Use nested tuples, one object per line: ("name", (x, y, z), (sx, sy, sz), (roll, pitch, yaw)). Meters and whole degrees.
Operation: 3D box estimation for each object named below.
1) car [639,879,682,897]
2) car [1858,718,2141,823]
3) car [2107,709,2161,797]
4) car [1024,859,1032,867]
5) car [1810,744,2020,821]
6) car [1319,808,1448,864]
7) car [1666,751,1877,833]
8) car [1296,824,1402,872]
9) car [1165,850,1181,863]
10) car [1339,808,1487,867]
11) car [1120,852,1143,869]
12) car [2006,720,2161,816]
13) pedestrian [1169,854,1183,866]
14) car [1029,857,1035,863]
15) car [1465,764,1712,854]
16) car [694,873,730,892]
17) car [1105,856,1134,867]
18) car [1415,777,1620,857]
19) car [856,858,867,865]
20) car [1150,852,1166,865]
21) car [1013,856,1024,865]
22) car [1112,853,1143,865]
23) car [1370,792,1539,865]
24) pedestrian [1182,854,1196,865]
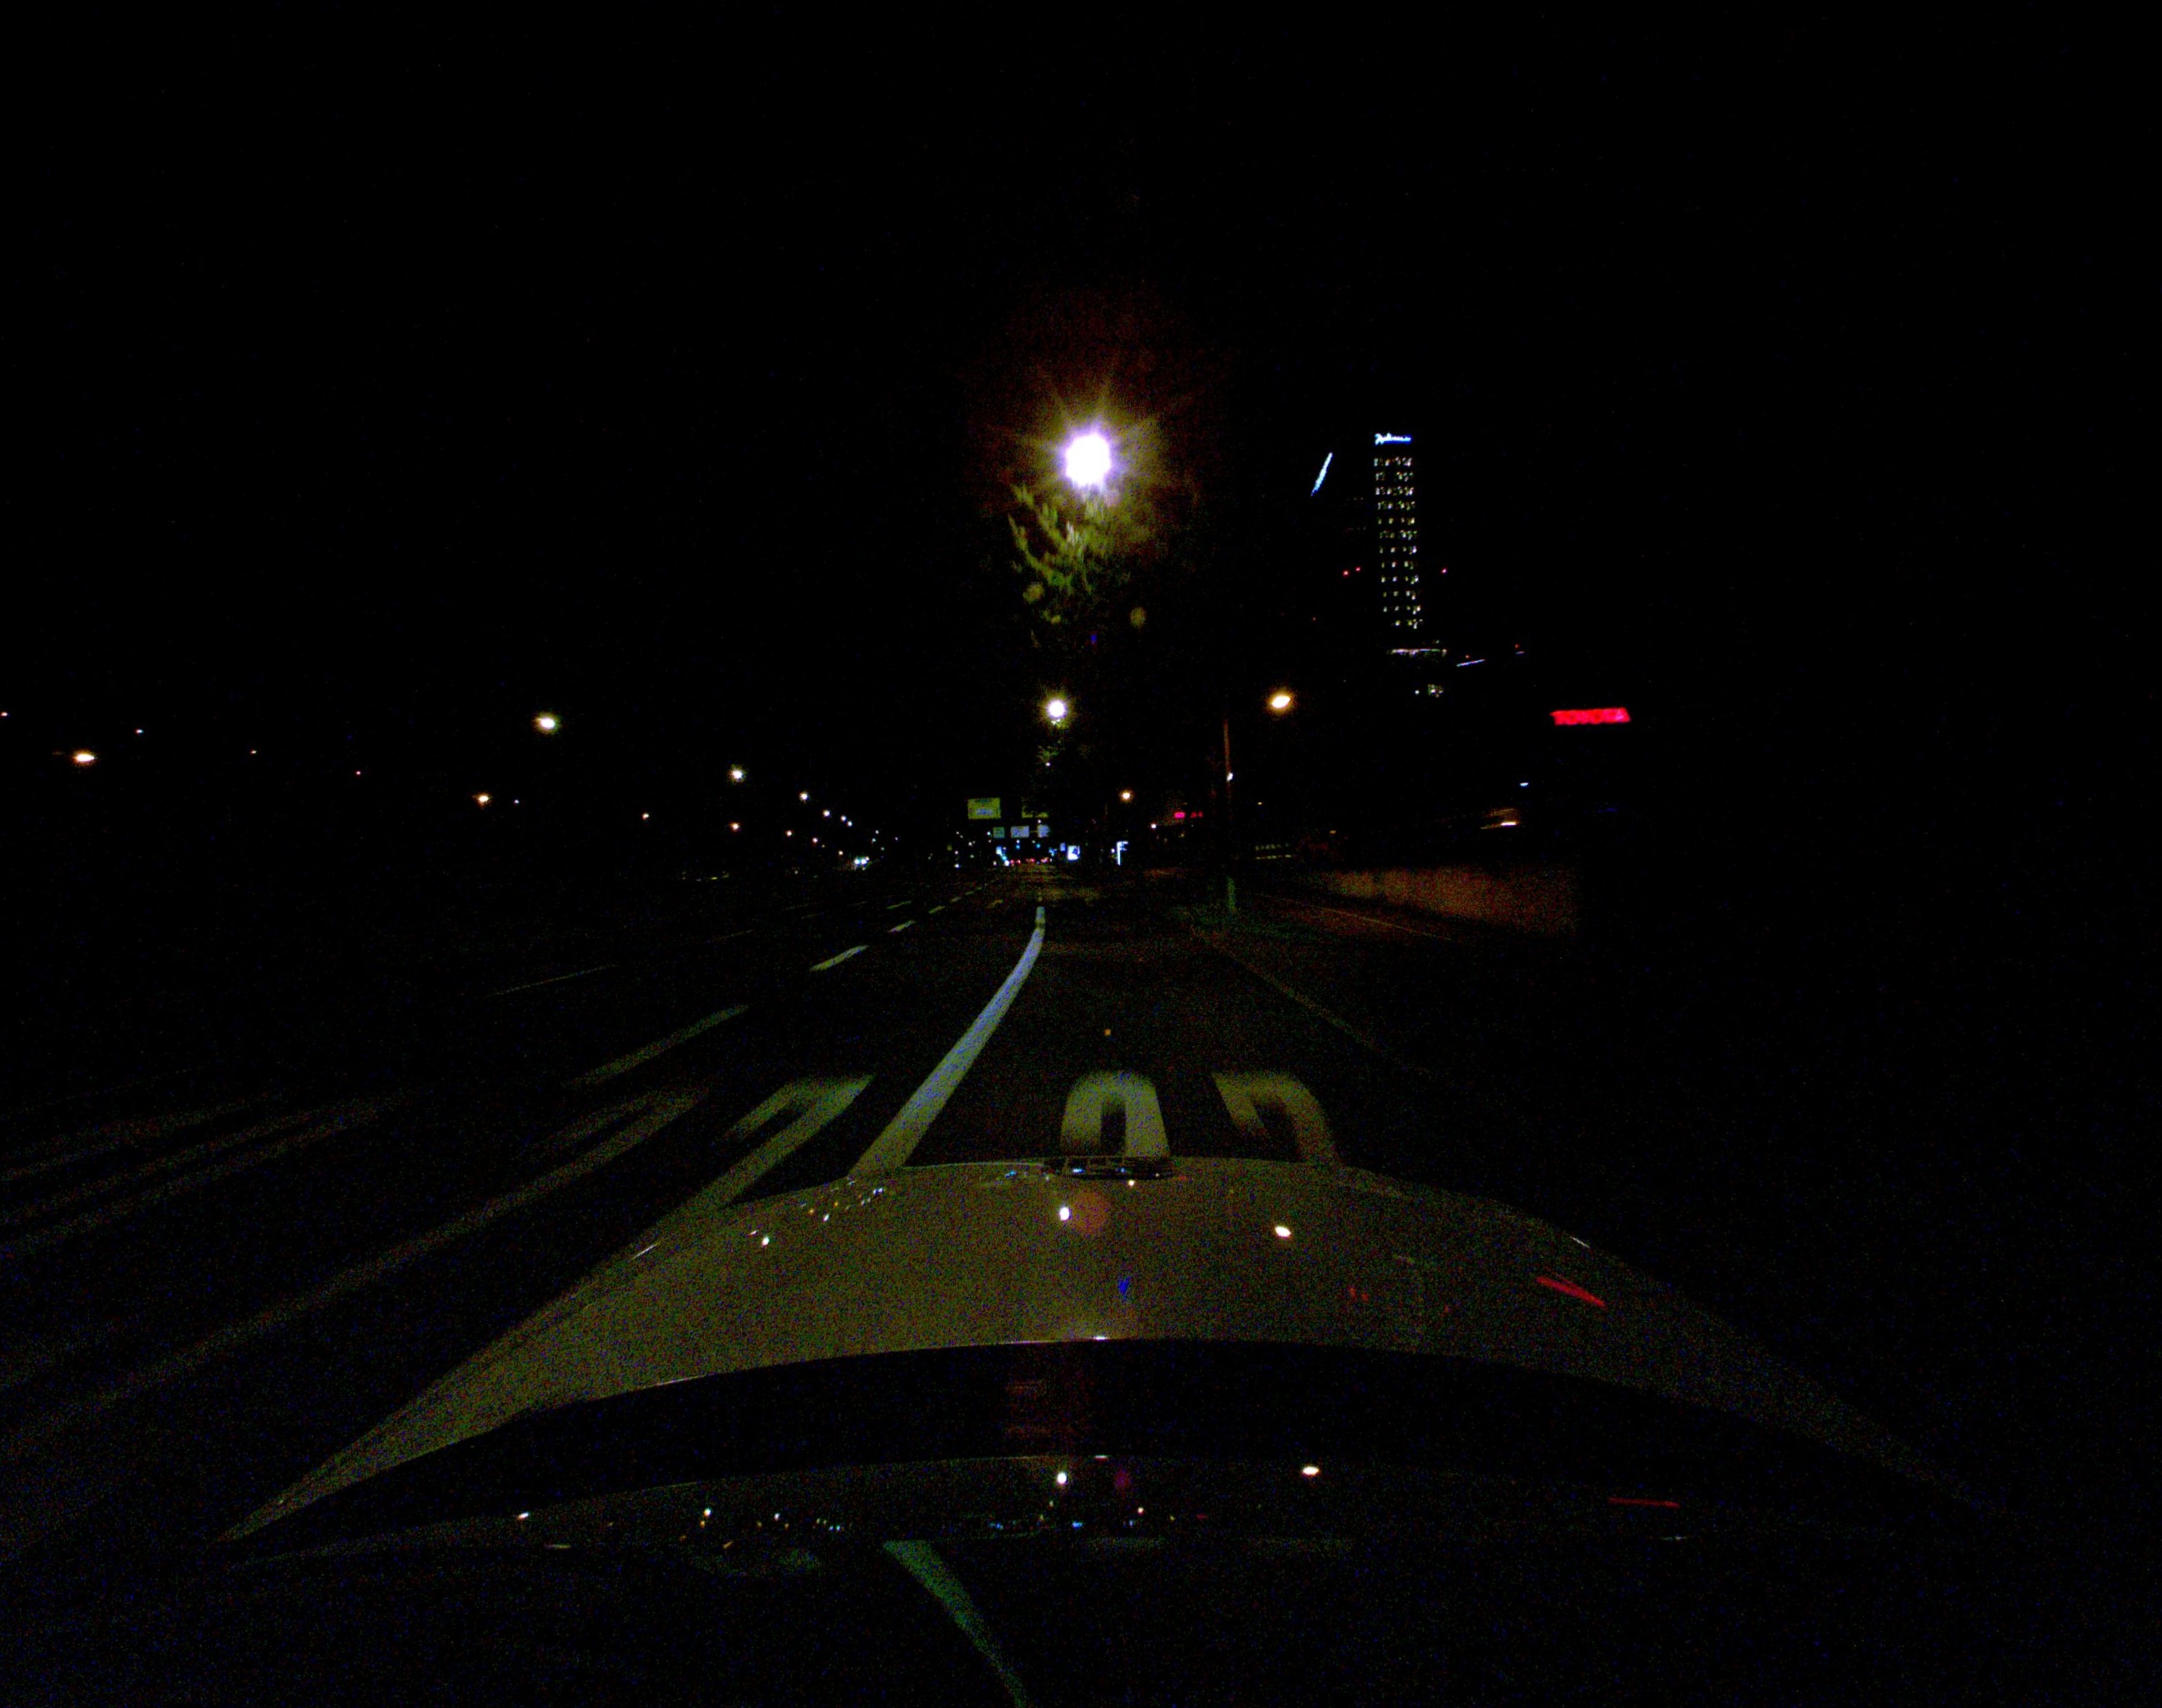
("car", (-31.523, 2.527, 61.195), (1.523, 1.270, 3.388), (0, -2, -2))
("car", (19.918, -1.771, 17.812), (3.974, 1.731, 1.837), (-5, -2, 0))
("car", (26.307, -2.435, 18.588), (3.805, 1.895, 1.748), (-4, -2, -7))
("car", (-15.077, 2.529, 232.003), (1.989, 2.014, 3.994), (0, -2, -4))
("car", (25.314, -2.153, 24.804), (4.571, 1.910, 1.995), (-3, -2, -6))
("car", (10.084, -0.582, 27.277), (3.559, 1.570, 1.722), (-4, -1, -8))
("car", (19.390, -1.712, 22.998), (4.347, 1.725, 1.750), (-5, -2, -1))
("car", (10.212, -0.233, 30.973), (3.859, 1.490, 1.721), (-3, -3, -34))
("car", (11.625, 0.325, 103.229), (1.884, 1.511, 3.639), (-1, -2, 4))
("car", (10.048, -0.478, 24.803), (3.719, 1.489, 1.739), (-4, -2, -5))
("car", (5.894, 0.802, 94.936), (1.979, 1.945, 4.015), (-1, -2, 14))
("car", (20.007, -1.685, 15.135), (3.629, 1.470, 1.637), (-6, -2, 0))
("pedestrian", (8.478, 0.530, 72.724), (0.902, 1.038, 0.776), (-3, -2, 40))
("car", (-14.394, 1.840, 239.106), (1.777, 1.728, 3.994), (0, -2, -3))
("car", (10.778, -0.923, 17.503), (4.108, 1.522, 1.821), (-3, -3, -2))
("car", (-34.928, 2.710, 77.157), (1.828, 1.685, 3.993), (0, -2, -5))
("car", (5.100, 0.998, 107.987), (3.507, 1.508, 1.731), (0, -2, -7))
("car", (10.519, -0.856, 19.817), (3.976, 1.571, 1.737), (-4, -2, -2))
("car", (-50.246, 1.707, 186.147), (1.621, 1.481, 3.675), (0, -2, -2))
("car", (9.584, 0.607, 102.020), (1.884, 1.511, 3.639), (-1, -2, 4))
("car", (-12.473, 1.317, 163.324), (1.962, 1.711, 3.998), (0, -2, -1))
("car", (5.675, 0.608, 100.018), (3.621, 1.451, 1.703), (0, -2, -7))
("car", (10.157, -0.662, 22.314), (3.741, 1.587, 1.777), (-5, -2, -5))
("pedestrian", (9.632, 0.514, 72.868), (1.000, 1.008, 0.766), (0, -2, -19))
